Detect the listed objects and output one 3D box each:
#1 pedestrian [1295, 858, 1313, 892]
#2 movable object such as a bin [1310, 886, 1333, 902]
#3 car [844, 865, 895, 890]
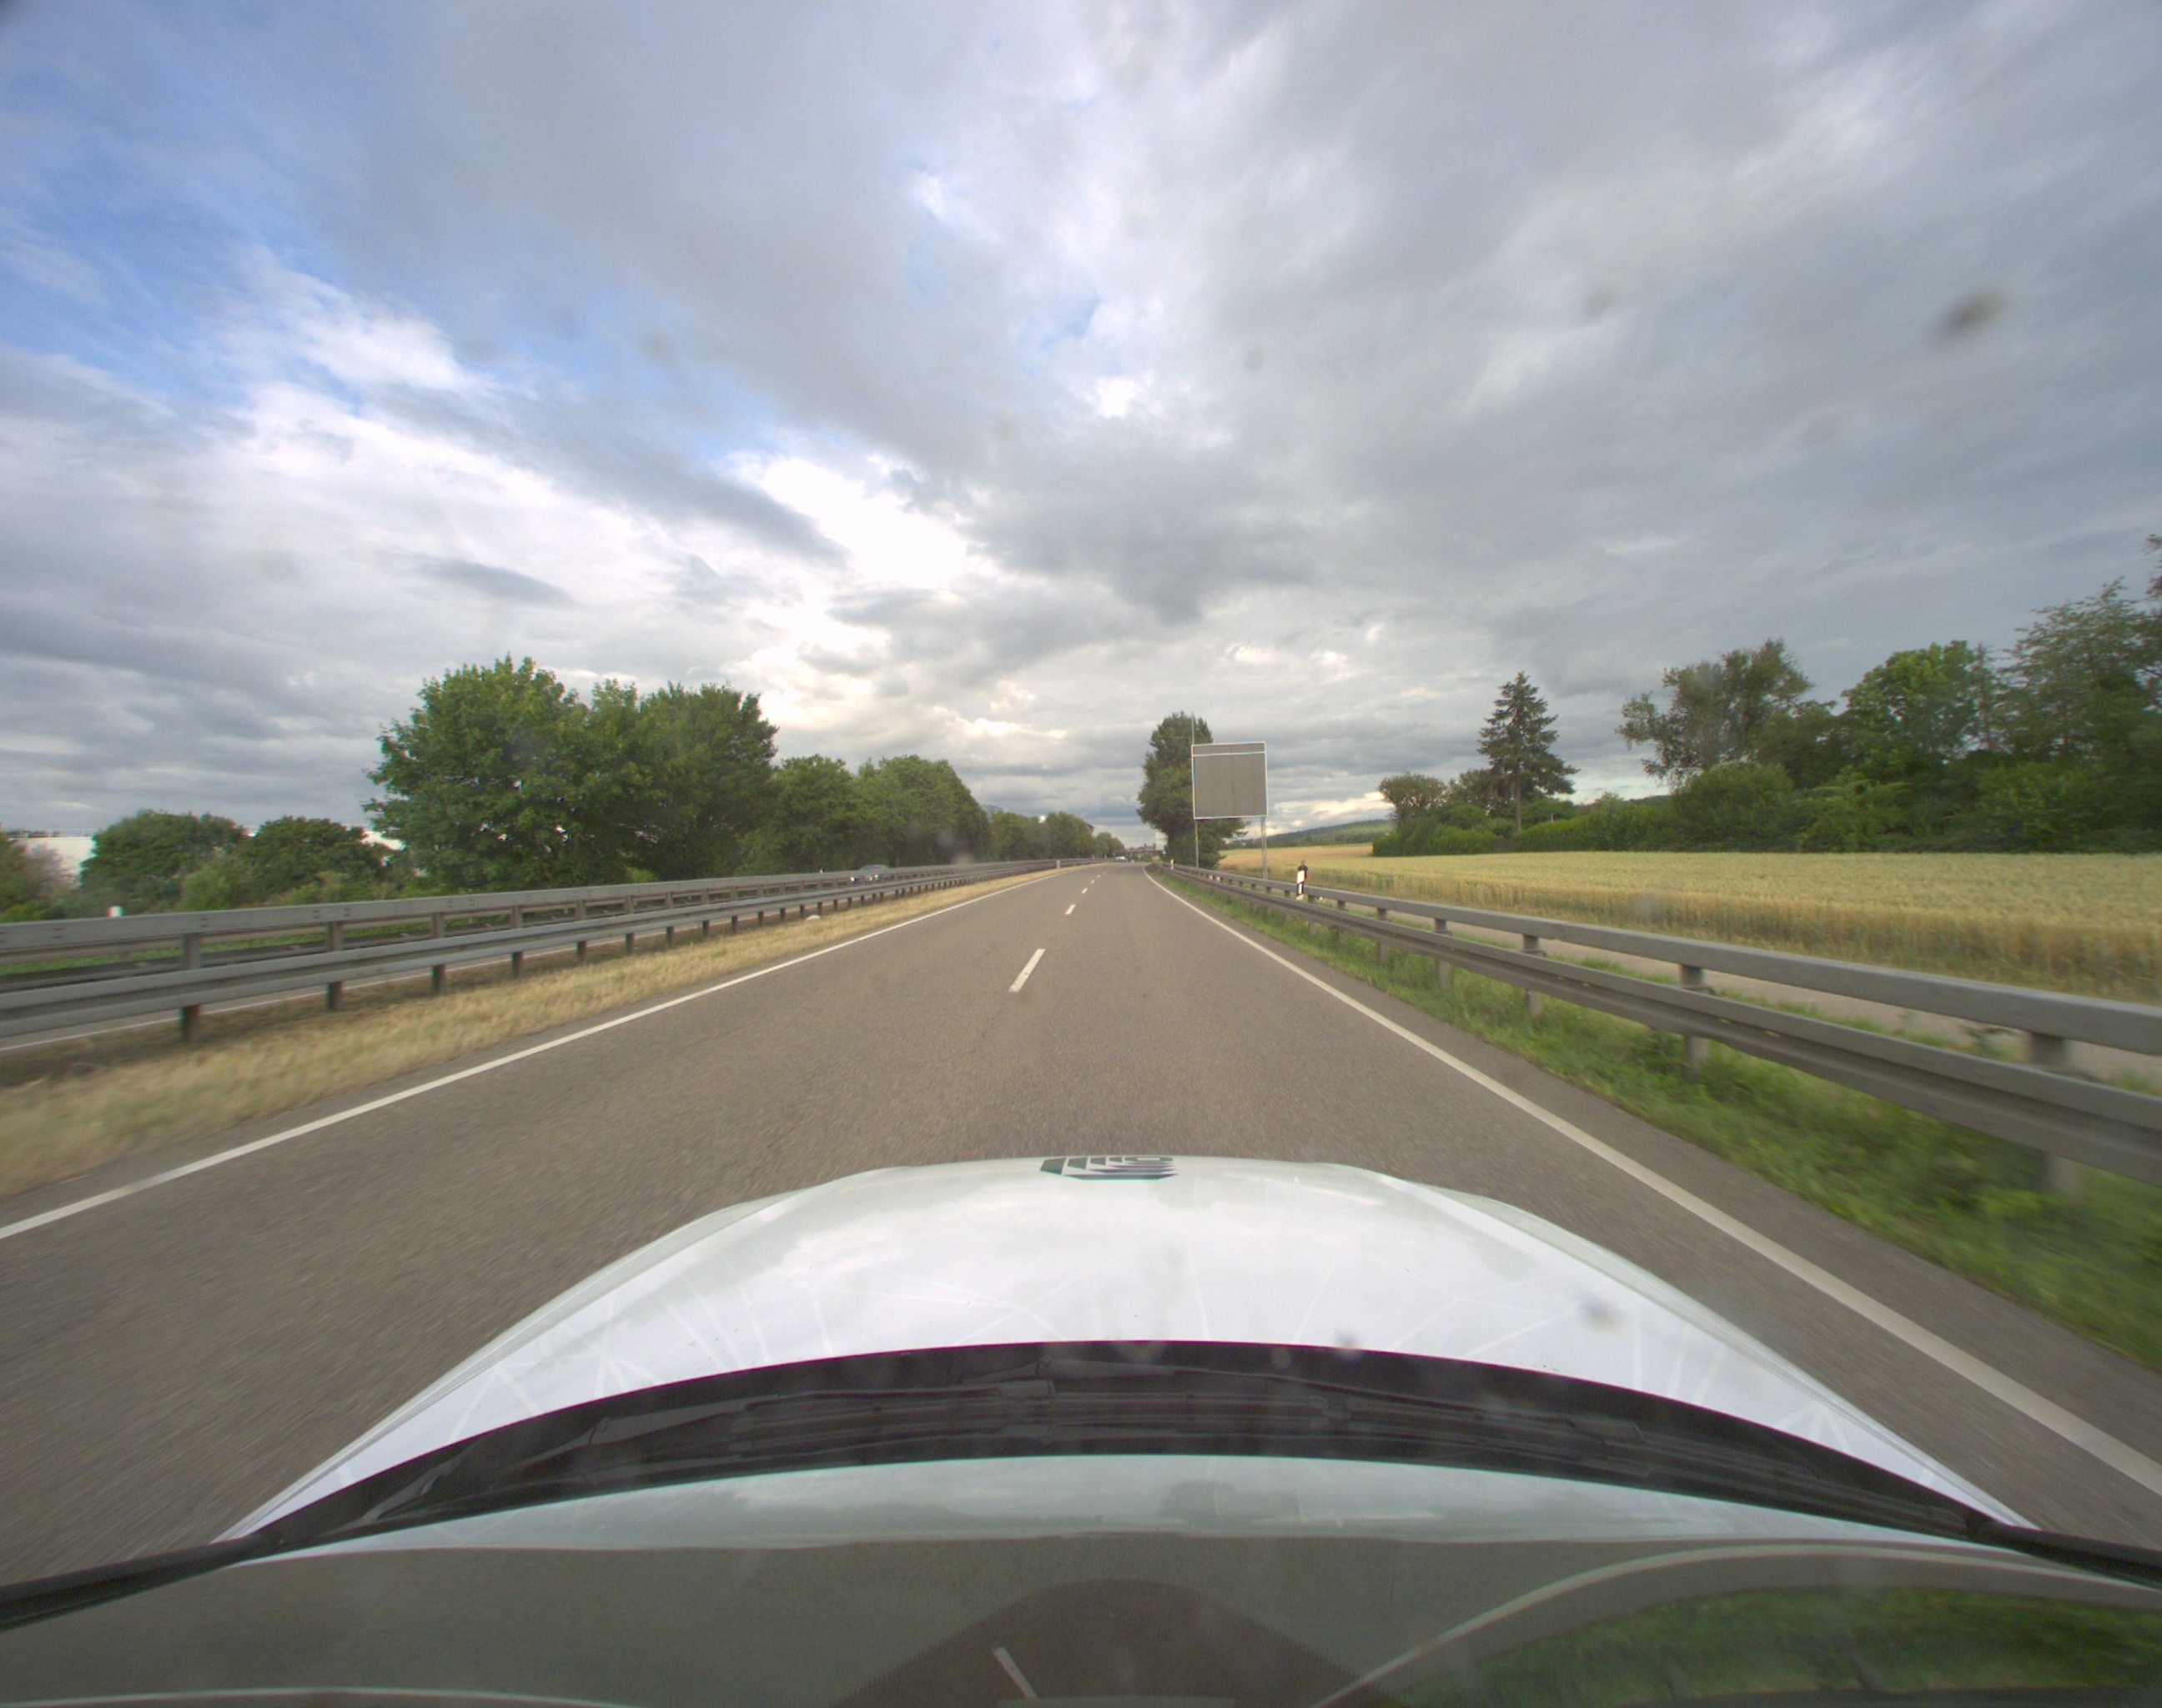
[{"bbox_3d":[12.289,1.149,44.991,0.768,1.868,0.940,0,-1,2],"label":"pedestrian"},{"bbox_3d":[10.786,1.783,36.574,0.729,0.645,1.236,0,-1,2],"label":"movable object such as a bin"},{"bbox_3d":[-12.965,1.410,50.144,1.774,1.352,4.578,-2,0,2],"label":"car"}]
